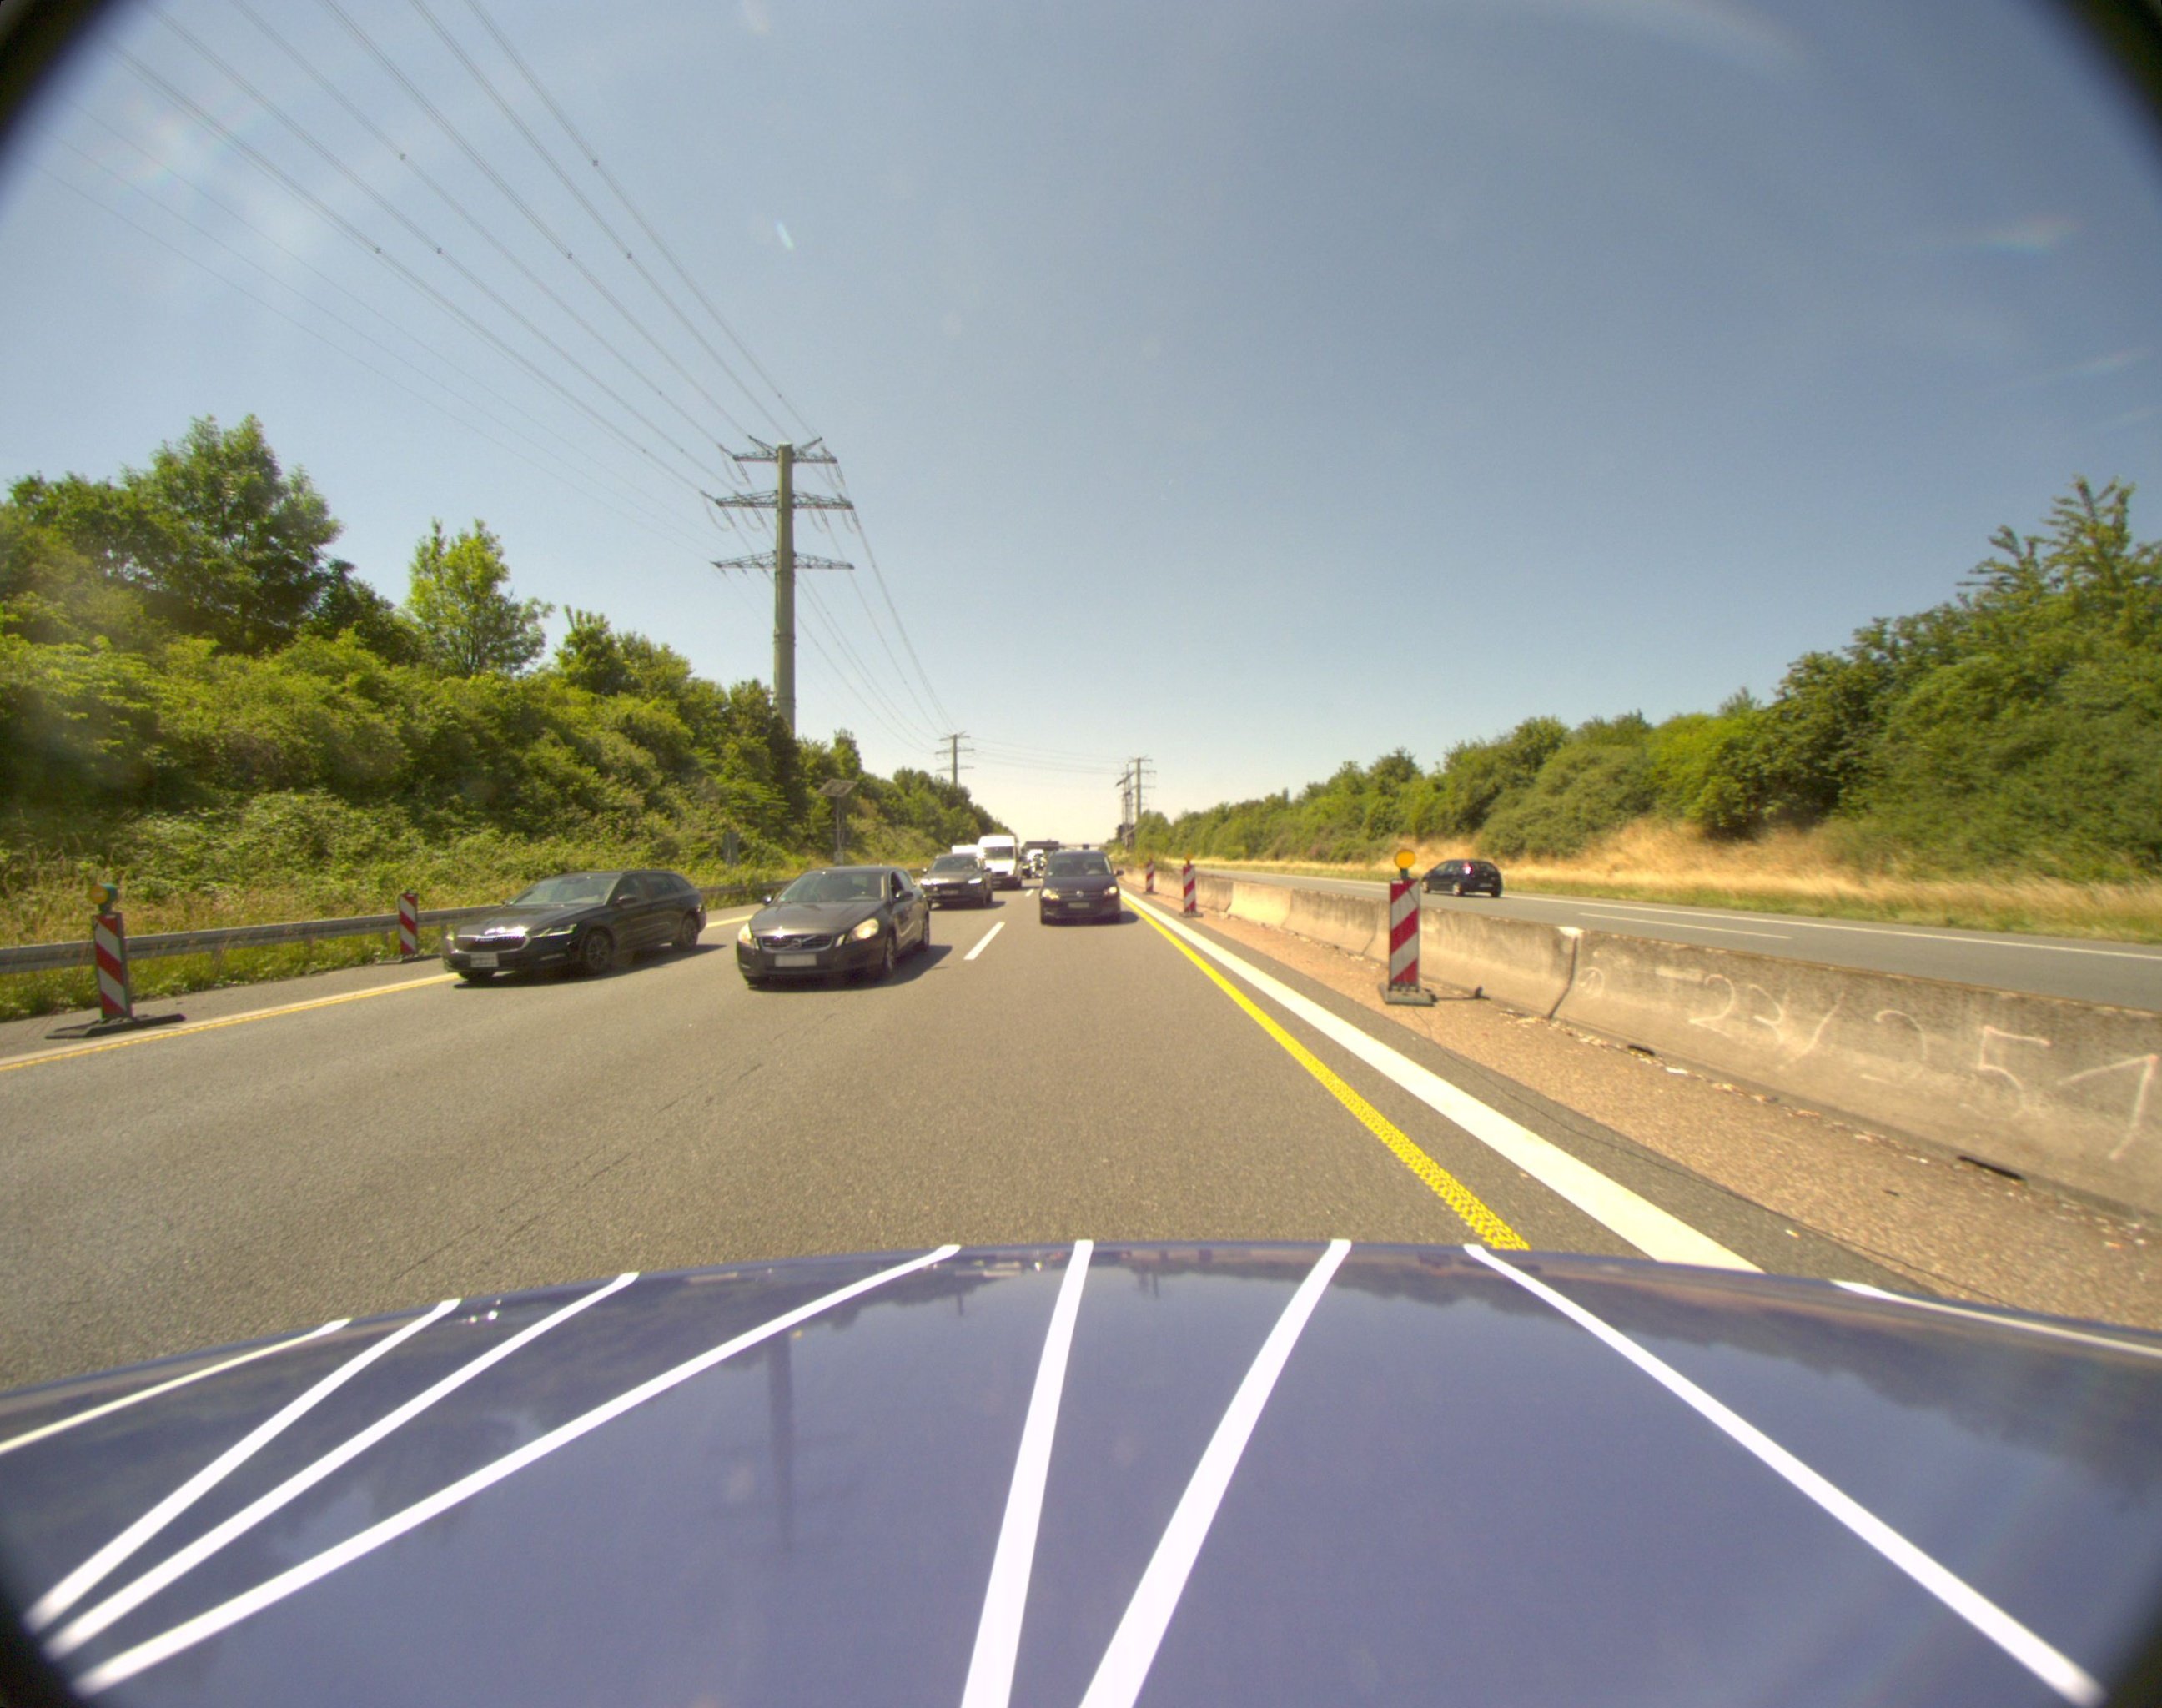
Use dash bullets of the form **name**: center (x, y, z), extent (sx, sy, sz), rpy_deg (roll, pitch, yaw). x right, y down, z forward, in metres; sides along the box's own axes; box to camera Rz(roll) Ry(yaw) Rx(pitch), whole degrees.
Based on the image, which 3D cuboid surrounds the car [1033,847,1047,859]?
- **car**: center (-5.796, -0.164, 106.831), extent (1.720, 1.510, 3.873), rpy_deg (-2, 1, 0)

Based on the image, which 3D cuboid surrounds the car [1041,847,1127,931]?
- **car**: center (0.025, 0.703, 17.718), extent (1.700, 1.641, 4.219), rpy_deg (-2, 1, -1)

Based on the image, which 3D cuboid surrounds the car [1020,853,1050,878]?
- **car**: center (-3.086, 0.740, 51.668), extent (1.720, 1.510, 3.873), rpy_deg (-2, 1, 0)

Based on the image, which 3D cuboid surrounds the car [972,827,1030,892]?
- **car**: center (-3.677, 0.211, 35.984), extent (2.042, 2.703, 6.704), rpy_deg (-2, 1, -1)

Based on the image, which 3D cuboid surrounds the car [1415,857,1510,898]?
- **car**: center (15.037, 0.867, 30.198), extent (1.713, 1.456, 3.848), rpy_deg (1, 1, -2)

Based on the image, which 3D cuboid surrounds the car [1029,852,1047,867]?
- **car**: center (-4.608, 0.596, 81.389), extent (1.720, 1.510, 3.873), rpy_deg (-2, 1, 0)

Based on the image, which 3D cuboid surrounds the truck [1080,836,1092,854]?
- **truck**: center (0.873, -1.626, 138.196), extent (1.892, 3.264, 5.589), rpy_deg (-2, 1, 0)

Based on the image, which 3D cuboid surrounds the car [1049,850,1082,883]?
- **car**: center (-0.861, 0.657, 42.561), extent (1.700, 1.641, 4.219), rpy_deg (-2, 1, -1)

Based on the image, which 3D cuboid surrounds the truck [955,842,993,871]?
- **truck**: center (-8.593, 0.190, 61.423), extent (2.253, 2.155, 5.728), rpy_deg (-2, 1, 0)

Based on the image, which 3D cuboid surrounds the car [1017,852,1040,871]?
- **car**: center (-4.501, 0.655, 65.584), extent (1.720, 1.510, 3.873), rpy_deg (-2, 1, 0)

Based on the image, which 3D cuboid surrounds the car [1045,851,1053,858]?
- **car**: center (-7.417, 0.178, 175.853), extent (1.720, 1.510, 3.873), rpy_deg (-2, 1, 0)

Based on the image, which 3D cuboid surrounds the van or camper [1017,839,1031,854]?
- **van or camper**: center (-9.749, -1.281, 129.982), extent (1.979, 2.511, 4.369), rpy_deg (-2, 1, 0)

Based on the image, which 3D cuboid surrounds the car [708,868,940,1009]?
- **car**: center (-3.333, 0.999, 10.875), extent (1.799, 1.411, 4.509), rpy_deg (-2, 1, -1)

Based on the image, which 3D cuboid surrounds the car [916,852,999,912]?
- **car**: center (-3.717, 0.777, 23.550), extent (1.893, 1.602, 4.219), rpy_deg (-2, 1, -1)

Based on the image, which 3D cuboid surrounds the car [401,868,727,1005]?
- **car**: center (-7.609, 1.077, 11.955), extent (1.796, 1.503, 4.853), rpy_deg (-2, 1, -1)
